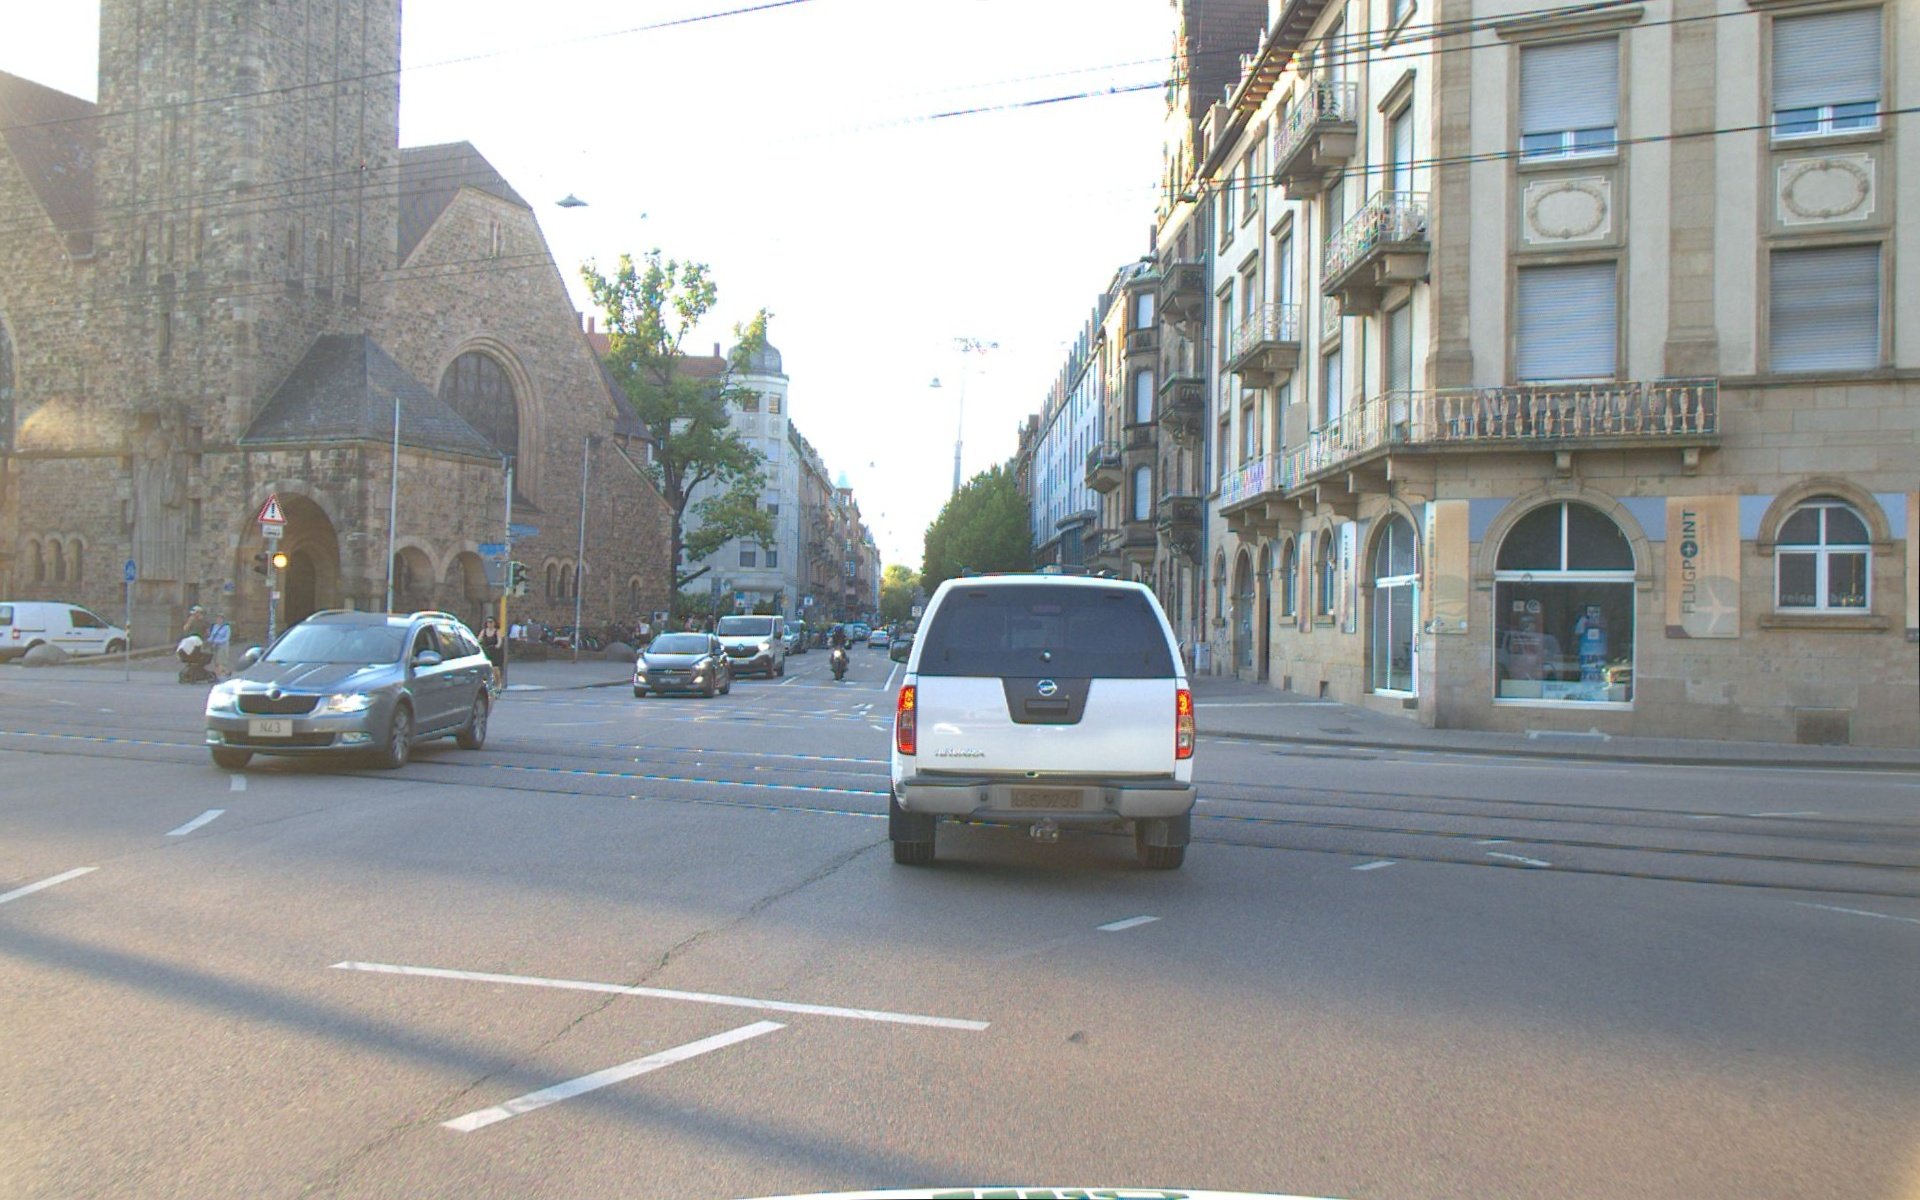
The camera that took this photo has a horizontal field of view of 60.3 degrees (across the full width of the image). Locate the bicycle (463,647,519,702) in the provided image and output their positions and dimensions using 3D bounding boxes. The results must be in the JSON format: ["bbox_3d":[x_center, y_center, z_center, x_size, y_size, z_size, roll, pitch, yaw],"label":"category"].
[{"bbox_3d":[-9.456,1.486,33.403,0.587,1.062,1.945,2,-2,-1],"label":"bicycle"}]

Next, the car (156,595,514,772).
[{"bbox_3d":[-6.278,0.784,17.298,1.953,1.585,4.768,0,-1,0],"label":"car"}]

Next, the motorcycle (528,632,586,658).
[{"bbox_3d":[-16.677,1.850,68.520,2.200,1.005,0.707,2,-2,-6],"label":"motorcycle"}]

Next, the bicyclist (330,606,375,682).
[{"bbox_3d":[-15.211,1.101,41.432,0.642,1.859,0.860,1,-1,10],"label":"bicyclist"}]

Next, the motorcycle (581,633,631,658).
[{"bbox_3d":[-15.576,1.996,72.831,2.120,1.005,0.594,1,-2,20],"label":"motorcycle"}]

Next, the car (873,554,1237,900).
[{"bbox_3d":[0.533,0.749,11.128,1.953,1.841,3.999,2,-2,0],"label":"car"}]

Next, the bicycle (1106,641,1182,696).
[{"bbox_3d":[4.517,1.682,40.664,1.781,1.259,0.477,-2,-2,-2],"label":"bicycle"}]

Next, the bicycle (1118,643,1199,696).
[{"bbox_3d":[4.671,1.626,39.014,1.781,1.170,0.636,-2,-2,-2],"label":"bicycle"}]

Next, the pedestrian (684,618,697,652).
[{"bbox_3d":[-13.614,1.771,83.492,0.549,1.725,0.643,2,-2,-8],"label":"pedestrian"}]

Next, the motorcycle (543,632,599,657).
[{"bbox_3d":[-16.581,1.905,70.546,2.200,1.005,0.707,2,-2,-6],"label":"motorcycle"}]

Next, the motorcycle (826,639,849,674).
[{"bbox_3d":[-3.846,1.758,51.988,0.587,1.062,1.945,2,-2,-1],"label":"motorcycle"}]

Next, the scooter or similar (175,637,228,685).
[{"bbox_3d":[-18.397,1.468,40.114,0.620,1.123,1.079,1,-2,11],"label":"scooter or similar"}]

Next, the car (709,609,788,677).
[{"bbox_3d":[-6.674,1.377,52.611,1.953,2.049,4.948,0,-1,-1],"label":"car"}]

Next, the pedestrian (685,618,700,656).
[{"bbox_3d":[-13.372,1.843,82.651,0.632,1.888,0.560,2,-2,-14],"label":"pedestrian"}]

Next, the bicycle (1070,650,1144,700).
[{"bbox_3d":[3.503,1.788,39.476,1.692,1.102,0.317,-2,-2,-2],"label":"bicycle"}]

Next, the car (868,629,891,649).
[{"bbox_3d":[-6.617,3.204,136.199,1.821,1.556,3.998,2,-1,-2],"label":"car"}]

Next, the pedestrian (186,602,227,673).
[{"bbox_3d":[-18.738,0.925,41.118,0.620,1.728,0.603,1,-2,14],"label":"pedestrian"}]

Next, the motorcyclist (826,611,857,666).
[{"bbox_3d":[-3.732,1.216,52.163,0.857,1.673,0.963,2,-2,-1],"label":"motorcyclist"}]

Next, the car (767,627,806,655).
[{"bbox_3d":[-9.940,2.351,95.165,1.821,1.556,3.999,2,-1,-1],"label":"car"}]

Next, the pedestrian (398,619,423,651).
[{"bbox_3d":[-17.208,1.099,51.811,0.511,0.977,0.479,1,-2,19],"label":"pedestrian"}]

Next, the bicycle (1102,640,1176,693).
[{"bbox_3d":[4.547,1.682,41.996,1.781,1.259,0.410,-2,-2,-2],"label":"bicycle"}]

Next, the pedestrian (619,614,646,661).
[{"bbox_3d":[-12.080,1.377,61.094,0.796,1.699,0.859,2,-2,-2],"label":"pedestrian"}]

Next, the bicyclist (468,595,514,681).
[{"bbox_3d":[-9.416,0.760,33.224,0.587,1.673,0.963,2,-2,-1],"label":"bicyclist"}]

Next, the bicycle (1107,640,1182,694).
[{"bbox_3d":[4.617,1.669,41.391,1.781,1.259,0.412,-2,-2,-2],"label":"bicycle"}]

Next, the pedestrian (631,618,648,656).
[{"bbox_3d":[-14.799,1.721,76.467,0.629,1.725,0.562,2,-2,-1],"label":"pedestrian"}]

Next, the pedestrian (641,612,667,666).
[{"bbox_3d":[-11.310,1.441,61.084,0.796,1.934,0.666,2,-2,-2],"label":"pedestrian"}]

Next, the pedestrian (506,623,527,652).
[{"bbox_3d":[-15.350,1.297,57.239,0.510,0.977,0.479,1,-2,17],"label":"pedestrian"}]

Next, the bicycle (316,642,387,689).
[{"bbox_3d":[-15.219,1.632,41.446,0.642,1.097,2.246,1,-1,8],"label":"bicycle"}]

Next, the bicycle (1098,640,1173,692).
[{"bbox_3d":[4.505,1.697,42.527,1.818,1.259,0.530,-2,-2,-2],"label":"bicycle"}]

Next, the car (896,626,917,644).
[{"bbox_3d":[-4.953,3.252,153.337,1.821,1.556,3.999,2,-1,-1],"label":"car"}]

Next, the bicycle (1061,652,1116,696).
[{"bbox_3d":[3.230,1.865,41.617,1.306,1.042,0.317,-2,-2,-2],"label":"bicycle"}]

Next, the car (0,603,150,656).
[{"bbox_3d":[-27.704,0.931,51.422,1.680,1.543,4.453,1,-2,24],"label":"car"}]

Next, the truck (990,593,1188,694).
[{"bbox_3d":[3.629,1.208,45.586,5.628,2.610,2.251,3,-2,-44],"label":"truck"}]

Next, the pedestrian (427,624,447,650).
[{"bbox_3d":[-19.542,1.378,61.758,0.541,0.977,0.708,2,-2,-6],"label":"pedestrian"}]

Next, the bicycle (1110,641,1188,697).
[{"bbox_3d":[4.554,1.660,39.954,1.781,1.259,0.488,-2,-2,-2],"label":"bicycle"}]

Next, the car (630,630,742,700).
[{"bbox_3d":[-6.228,1.446,38.013,1.953,1.503,4.138,0,-1,-1],"label":"car"}]

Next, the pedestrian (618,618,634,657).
[{"bbox_3d":[-15.019,1.701,74.350,0.631,1.725,0.561,2,-2,-9],"label":"pedestrian"}]

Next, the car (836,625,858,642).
[{"bbox_3d":[-11.005,3.260,161.280,1.821,1.556,3.999,2,-1,-1],"label":"car"}]

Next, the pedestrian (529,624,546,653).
[{"bbox_3d":[-14.598,1.318,57.143,0.513,0.977,0.477,2,-2,-16],"label":"pedestrian"}]

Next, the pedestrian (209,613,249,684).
[{"bbox_3d":[-18.119,1.204,41.011,0.620,1.728,0.603,1,-2,11],"label":"pedestrian"}]
